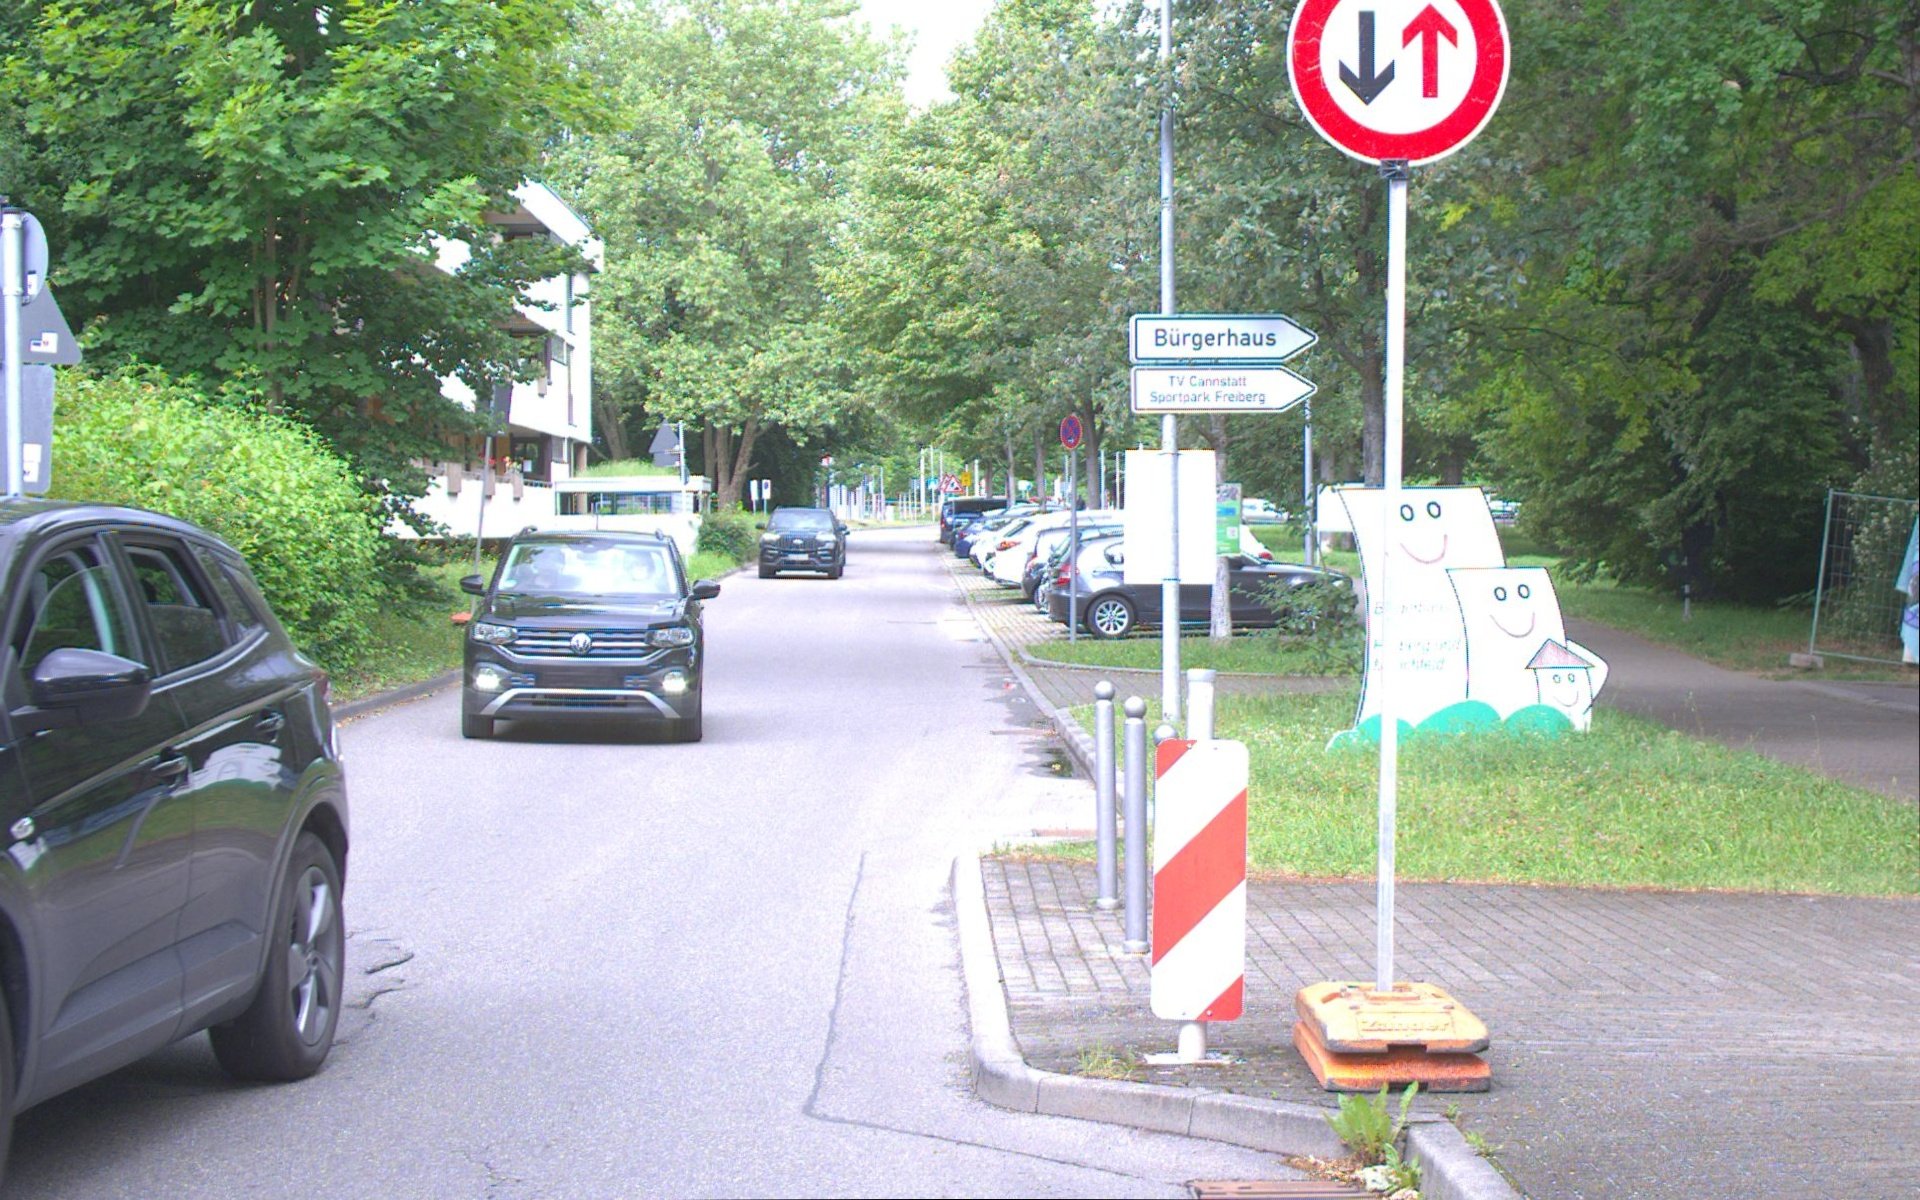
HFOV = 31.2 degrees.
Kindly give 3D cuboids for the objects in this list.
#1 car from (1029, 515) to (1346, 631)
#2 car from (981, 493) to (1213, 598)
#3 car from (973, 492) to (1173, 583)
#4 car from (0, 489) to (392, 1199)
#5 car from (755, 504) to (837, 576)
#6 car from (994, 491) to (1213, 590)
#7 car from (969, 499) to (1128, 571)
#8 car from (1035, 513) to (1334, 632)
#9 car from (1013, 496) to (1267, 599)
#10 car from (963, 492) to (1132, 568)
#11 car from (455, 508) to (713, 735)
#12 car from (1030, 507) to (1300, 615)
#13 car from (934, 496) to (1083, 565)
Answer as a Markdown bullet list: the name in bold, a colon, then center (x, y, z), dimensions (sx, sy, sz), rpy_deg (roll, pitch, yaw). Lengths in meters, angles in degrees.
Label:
- **car**: center (3.031, -0.358, 46.444), dimensions (4.063, 1.429, 2.000), rpy_deg (-2, 0, -1)
- **car**: center (2.529, -1.029, 64.179), dimensions (4.062, 1.681, 1.823), rpy_deg (-4, 1, -4)
- **car**: center (2.432, -1.363, 74.646), dimensions (4.062, 1.681, 1.823), rpy_deg (-4, 1, -4)
- **car**: center (-2.764, 0.540, 8.094), dimensions (1.803, 1.586, 4.295), rpy_deg (0, 1, 5)
- **car**: center (-4.057, -1.504, 85.583), dimensions (1.968, 1.741, 4.339), rpy_deg (0, 1, -2)
- **car**: center (2.814, -1.190, 68.096), dimensions (4.062, 1.681, 1.823), rpy_deg (-4, 1, -4)
- **car**: center (2.392, -1.766, 93.629), dimensions (4.062, 1.681, 1.823), rpy_deg (-4, 1, -4)
- **car**: center (3.154, -0.382, 48.923), dimensions (4.063, 1.563, 1.822), rpy_deg (-2, 0, -1)
- **car**: center (3.054, -0.904, 58.875), dimensions (4.062, 1.483, 1.823), rpy_deg (-4, 2, -4)
- **car**: center (2.213, -1.793, 87.735), dimensions (4.062, 1.681, 1.823), rpy_deg (-4, 1, -4)
- **car**: center (-2.813, 0.105, 26.277), dimensions (1.803, 1.586, 4.297), rpy_deg (0, 1, -5)
- **car**: center (3.202, -0.630, 54.247), dimensions (4.063, 1.563, 1.823), rpy_deg (-2, 1, -1)
- **car**: center (1.374, -2.001, 98.661), dimensions (4.062, 1.681, 1.823), rpy_deg (-4, 1, -4)
